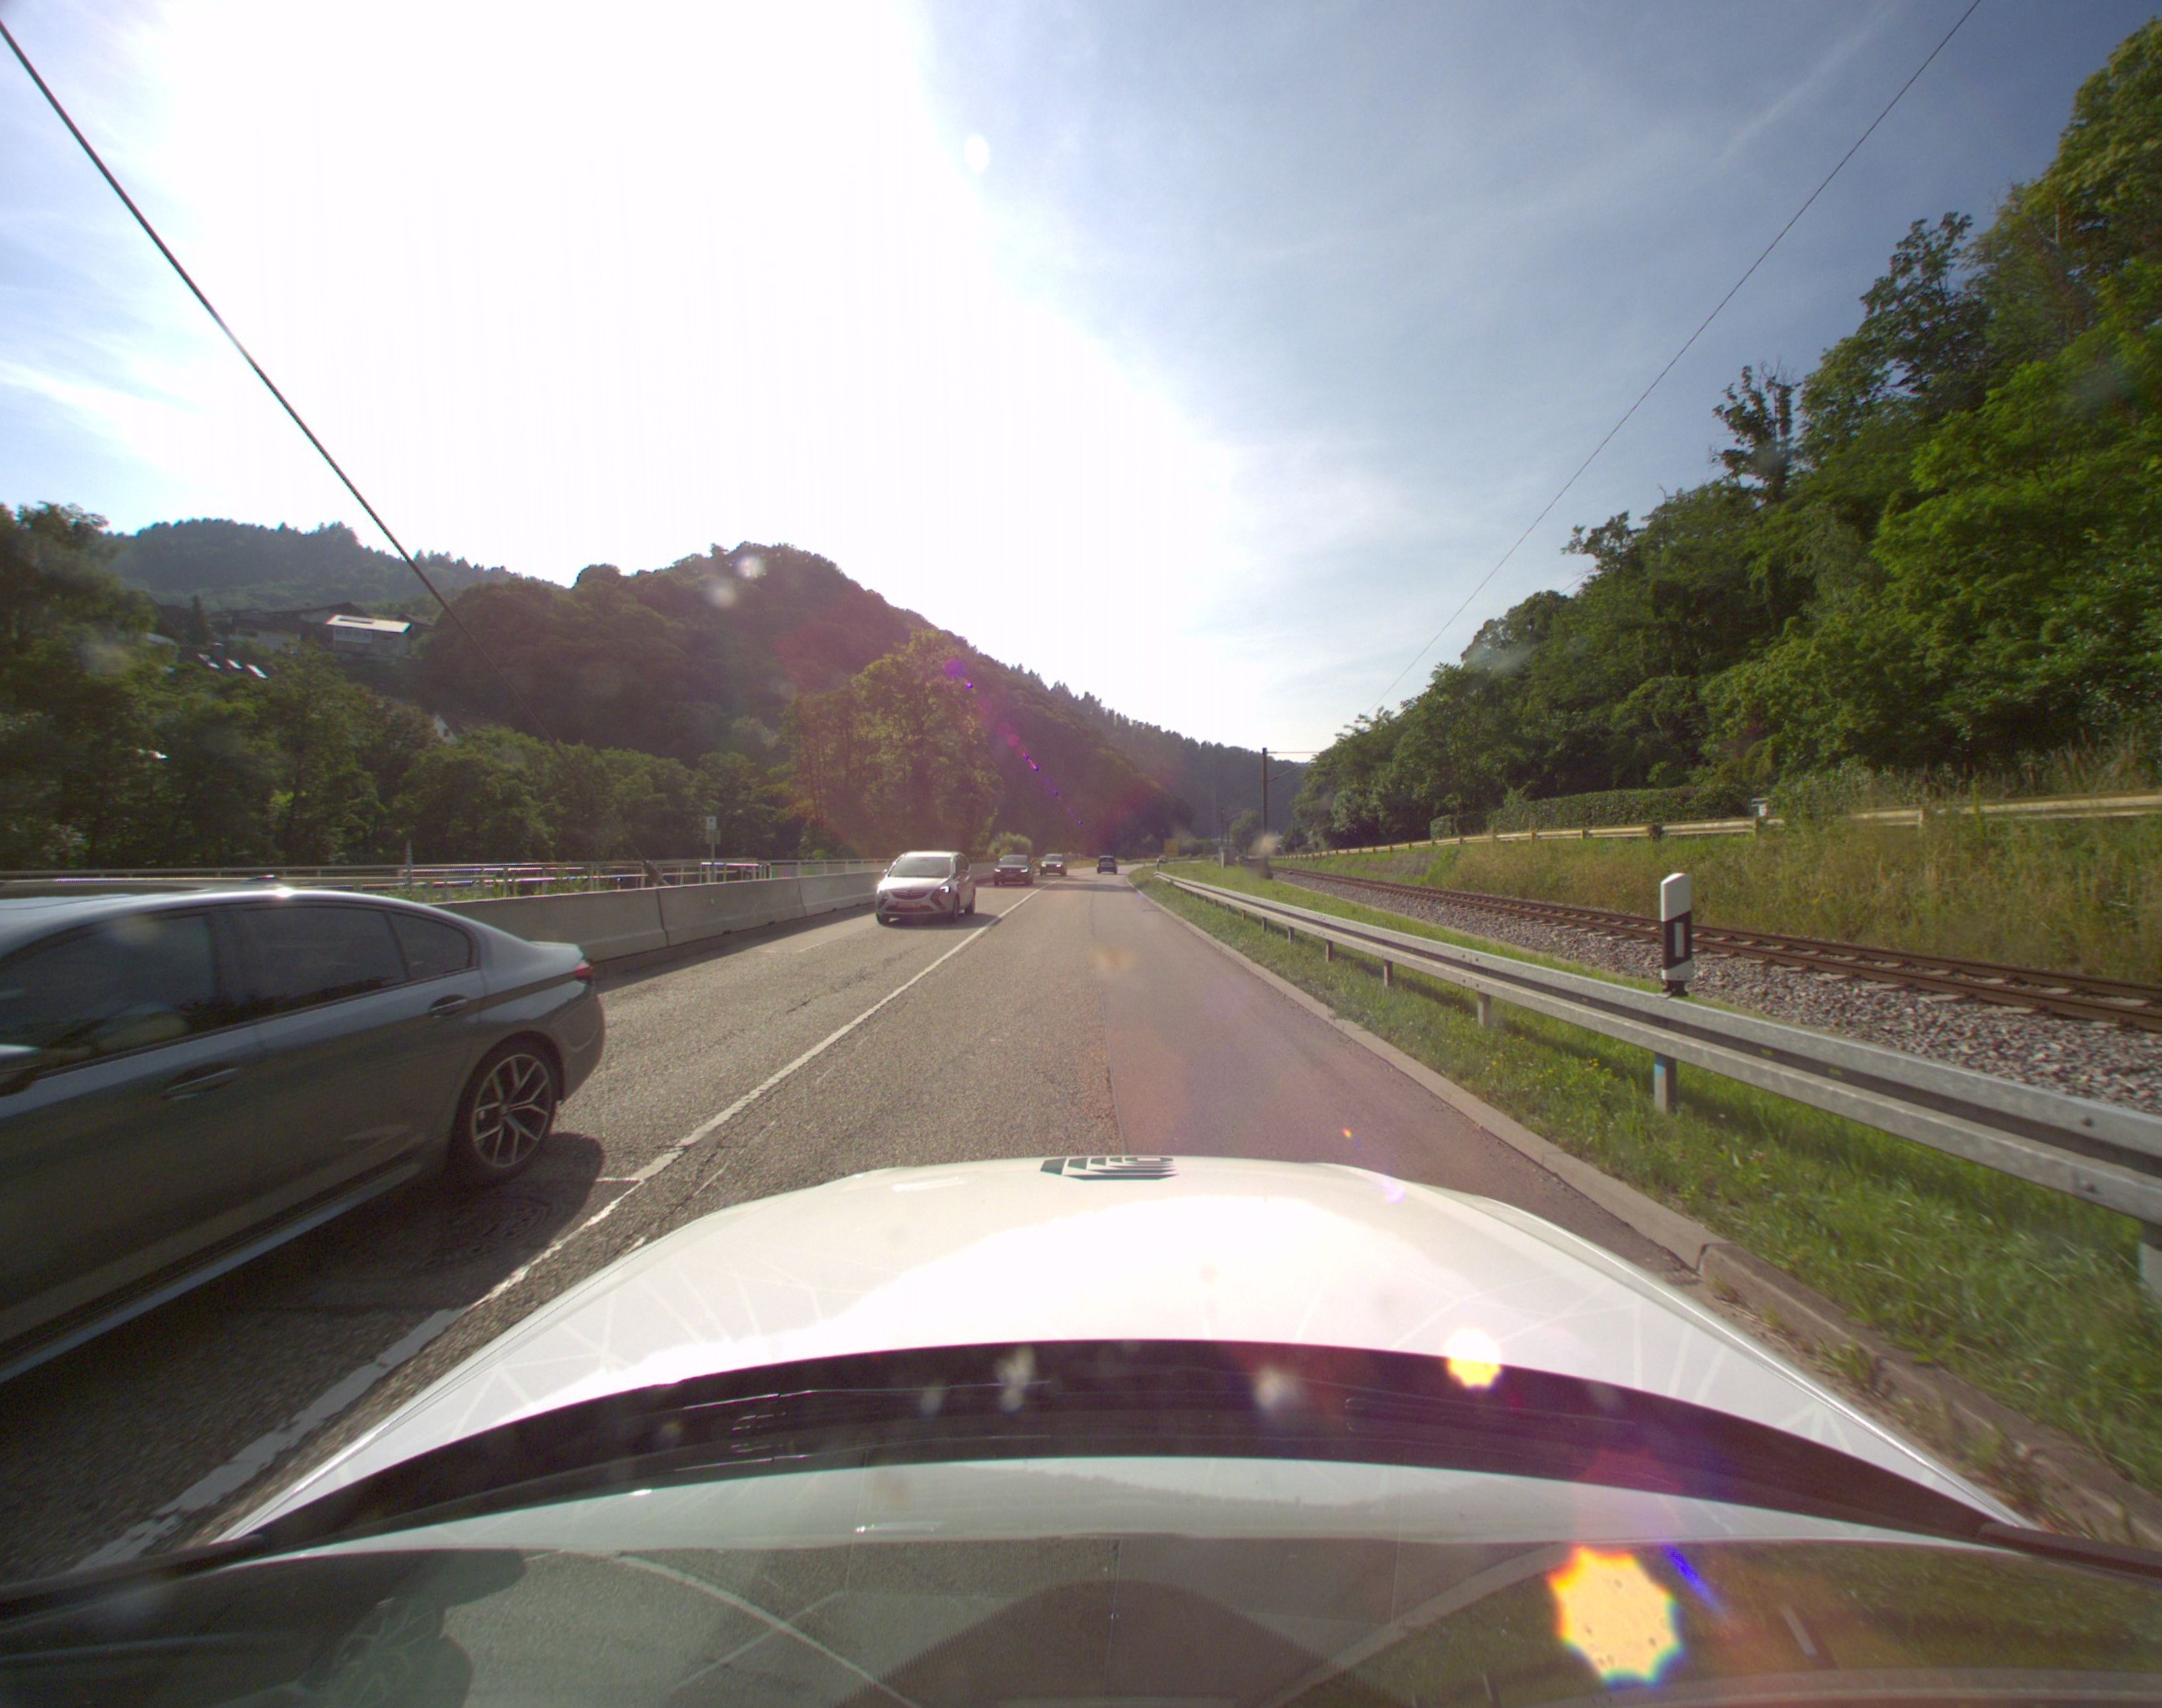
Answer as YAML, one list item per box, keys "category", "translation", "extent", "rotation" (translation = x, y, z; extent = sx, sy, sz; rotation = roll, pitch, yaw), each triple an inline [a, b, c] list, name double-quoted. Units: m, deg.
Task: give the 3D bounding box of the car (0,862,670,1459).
- category: "car"
  translation: [-3.617, 0.786, 2.699]
  extent: [1.830, 1.496, 4.938]
  rotation: [0, 0, 2]

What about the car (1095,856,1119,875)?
- category: "car"
  translation: [2.472, 1.070, 76.458]
  extent: [1.985, 1.723, 3.994]
  rotation: [-2, -1, 4]

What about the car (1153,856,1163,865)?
- category: "car"
  translation: [17.290, 1.482, 182.537]
  extent: [1.841, 1.784, 4.694]
  rotation: [2, 0, 8]

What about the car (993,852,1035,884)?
- category: "car"
  translation: [-3.437, 0.703, 42.476]
  extent: [1.793, 1.556, 4.331]
  rotation: [1, 0, 0]

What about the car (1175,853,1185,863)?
- category: "car"
  translation: [20.793, 0.816, 170.610]
  extent: [1.982, 2.014, 4.009]
  rotation: [-2, 0, 8]

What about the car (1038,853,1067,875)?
- category: "car"
  translation: [-2.231, 0.745, 64.212]
  extent: [1.986, 1.629, 4.508]
  rotation: [1, 0, 1]

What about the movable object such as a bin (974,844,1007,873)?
- category: "movable object such as a bin"
  translation: [-13.091, 0.702, 118.909]
  extent: [2.686, 3.947, 10.004]
  rotation: [-2, -1, 5]

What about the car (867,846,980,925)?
- category: "car"
  translation: [-3.696, 0.689, 19.966]
  extent: [1.767, 1.670, 4.647]
  rotation: [-1, 0, 1]
